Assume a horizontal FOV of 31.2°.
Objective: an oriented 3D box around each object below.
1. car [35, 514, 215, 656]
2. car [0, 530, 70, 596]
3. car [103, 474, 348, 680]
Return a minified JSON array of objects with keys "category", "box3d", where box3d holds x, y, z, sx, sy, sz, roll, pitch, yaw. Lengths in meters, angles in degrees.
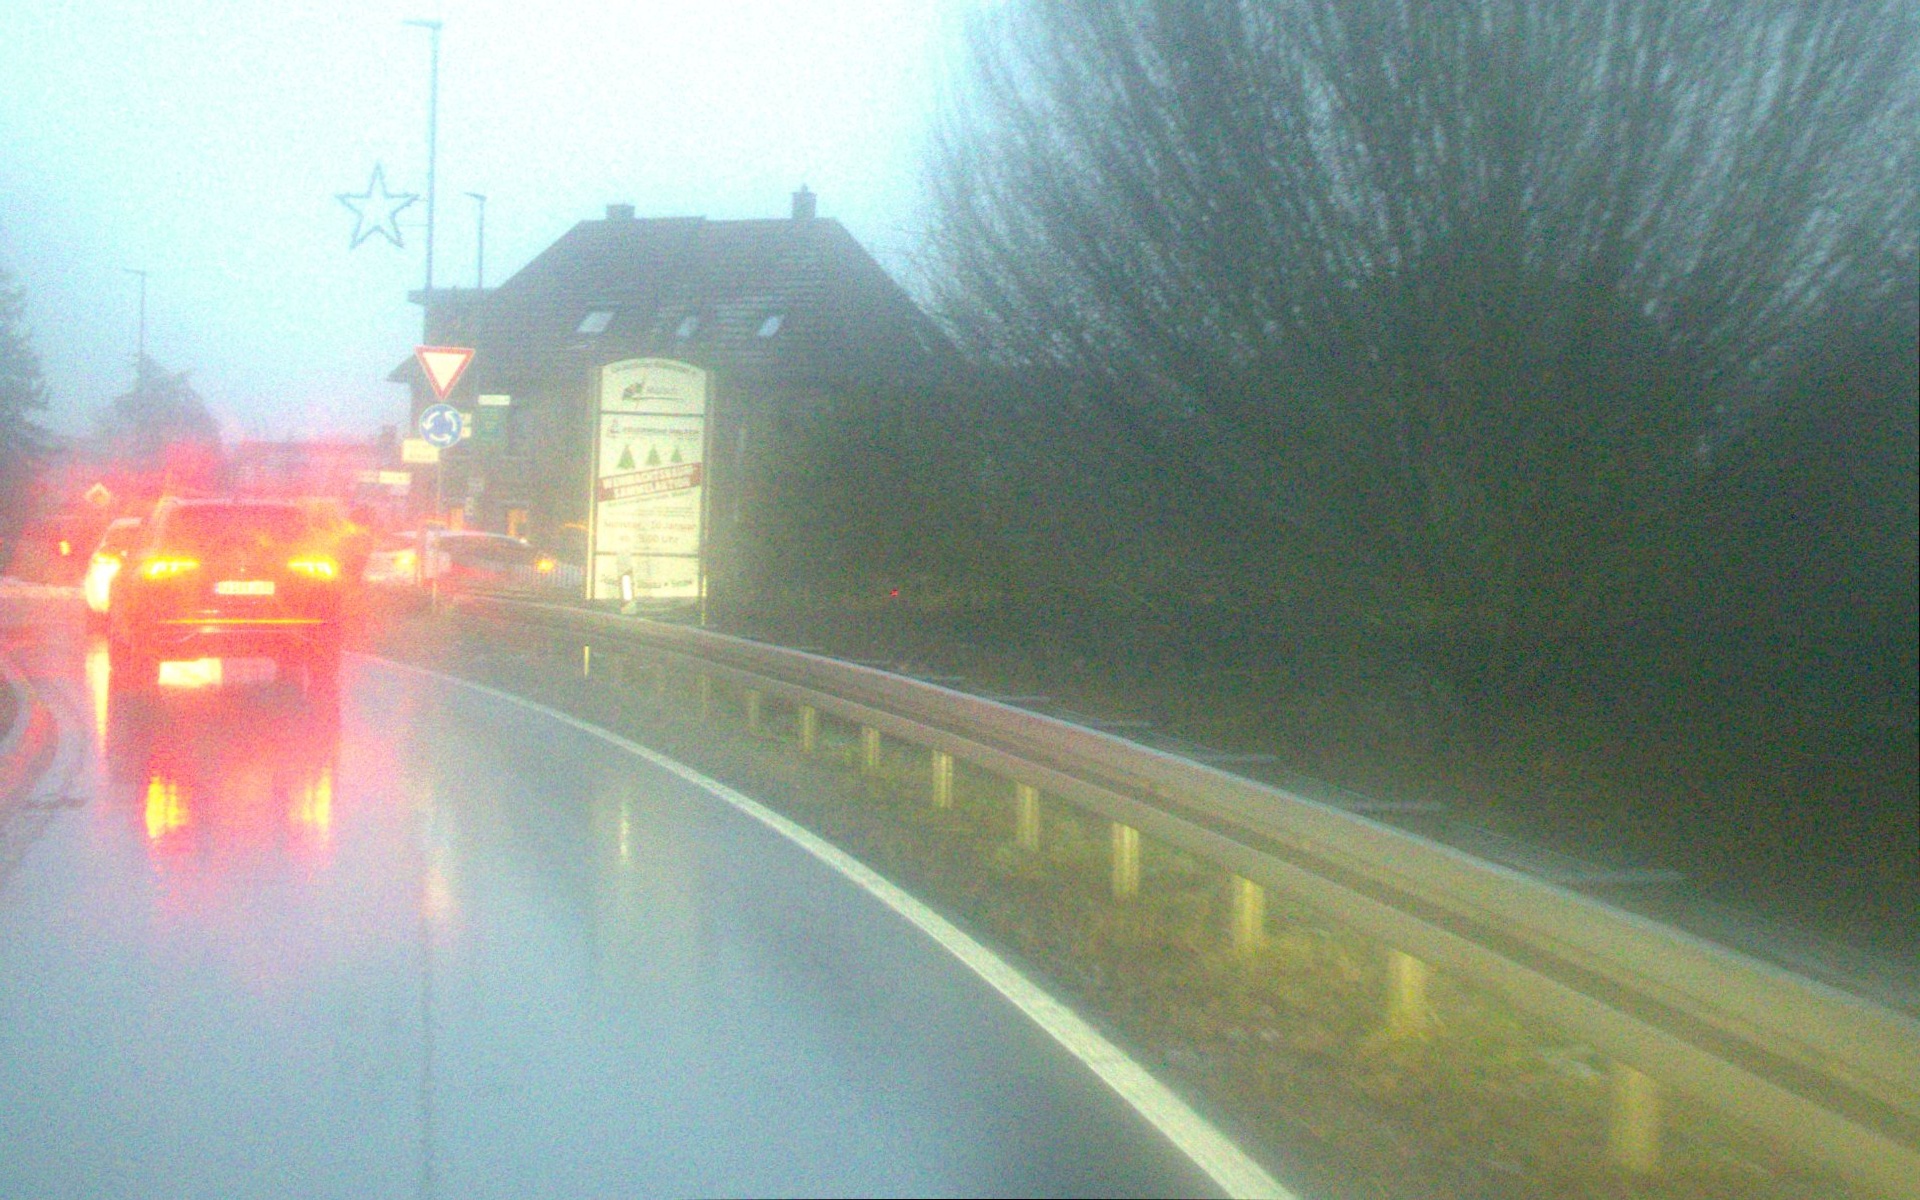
[{"category":"car","box3d":[-11.092,-0.239,45.528,2.163,1.683,4.573,1,2,-15]},{"category":"car","box3d":[-22.703,-0.890,82.929,1.772,1.539,4.001,1,0,-23]},{"category":"car","box3d":[-6.817,-0.226,31.609,1.944,1.712,4.001,2,1,-15]}]
